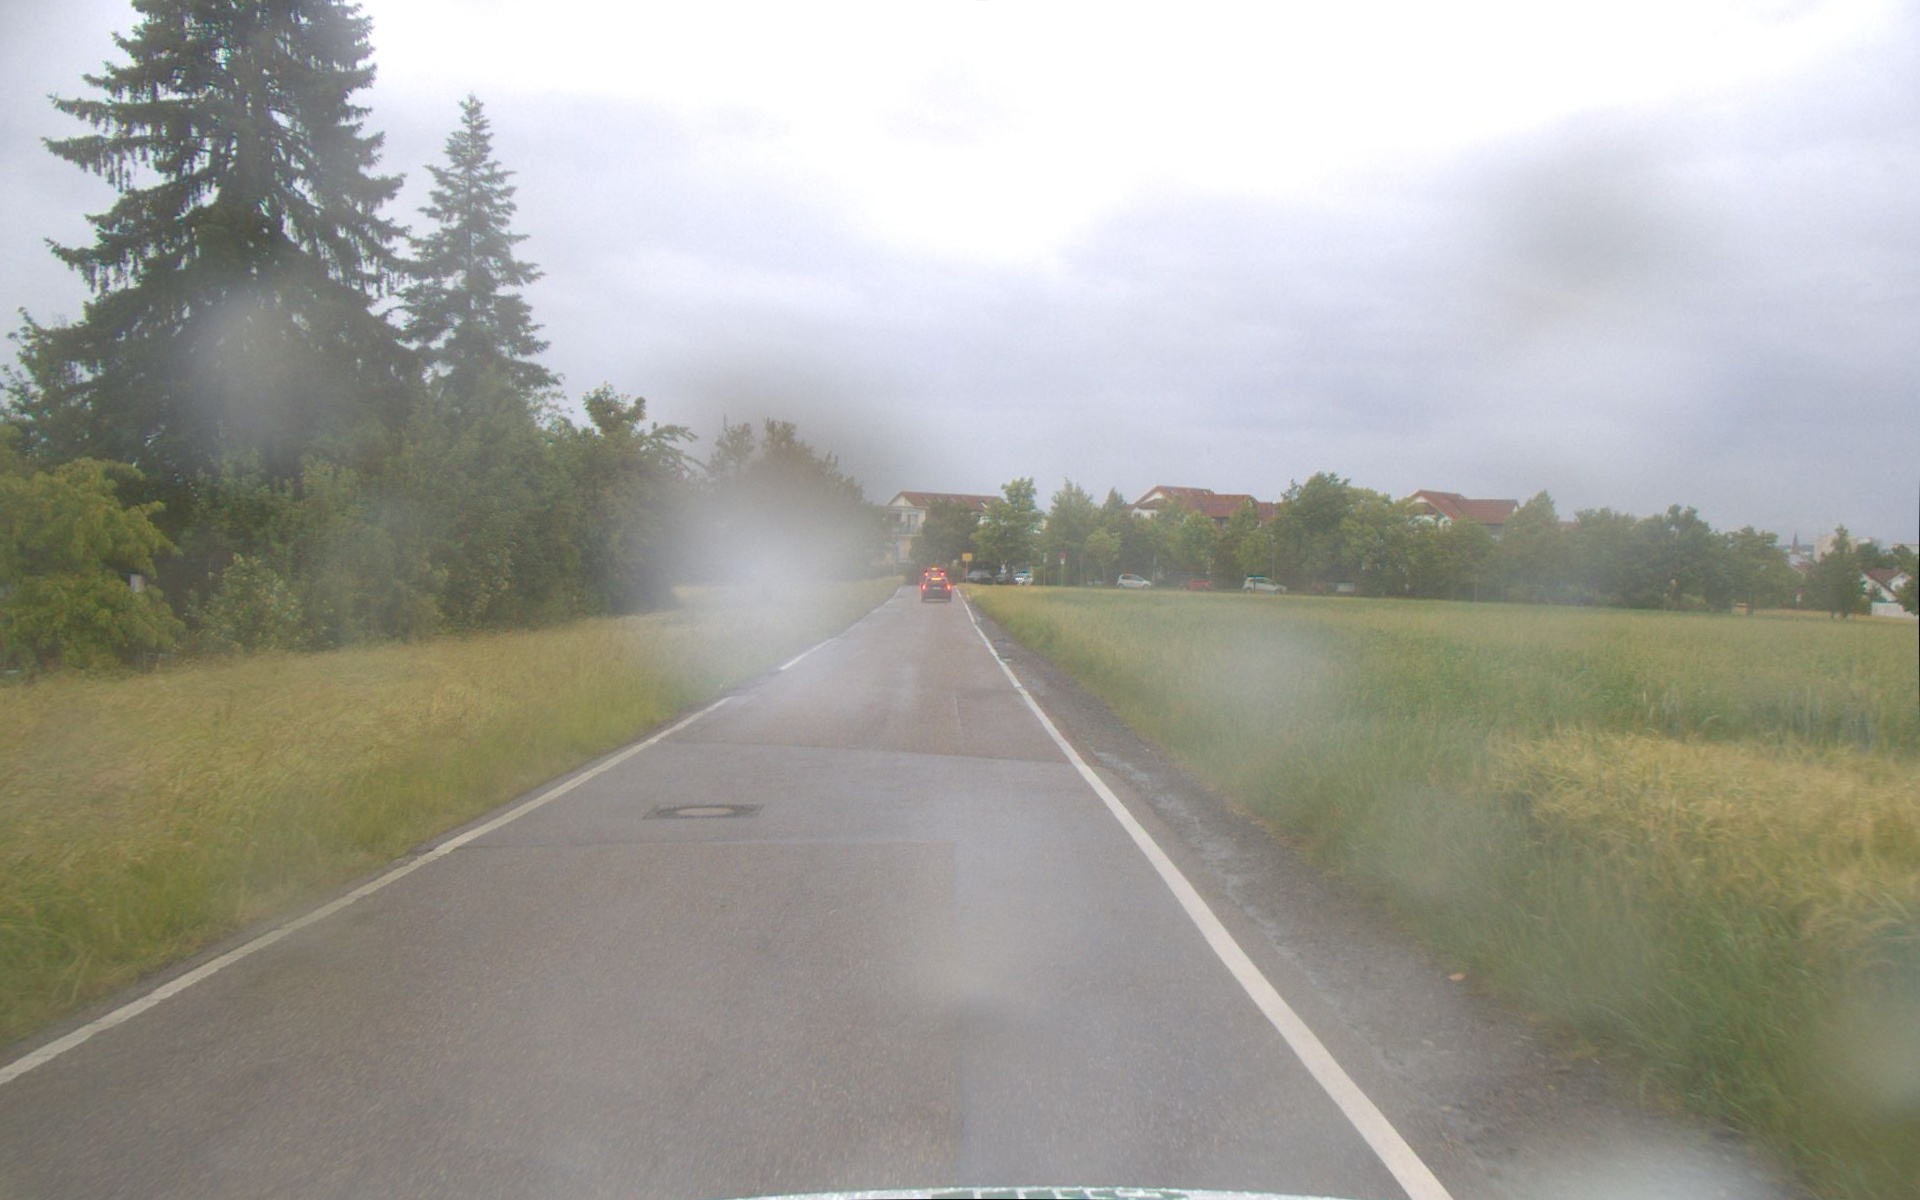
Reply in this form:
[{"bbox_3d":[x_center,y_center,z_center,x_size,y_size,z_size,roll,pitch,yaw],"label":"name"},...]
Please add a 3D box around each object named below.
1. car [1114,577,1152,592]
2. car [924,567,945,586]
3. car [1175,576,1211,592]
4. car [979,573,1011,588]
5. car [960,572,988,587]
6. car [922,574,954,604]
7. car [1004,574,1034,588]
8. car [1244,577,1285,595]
[{"bbox_3d":[16.125,-1.438,153.964,3.317,1.394,1.549,1,-1,12],"label":"car"},{"bbox_3d":[-2.249,-2.082,147.061,1.777,1.622,4.000,1,-1,0],"label":"car"},{"bbox_3d":[21.533,-1.475,152.621,3.124,1.394,1.573,1,-1,12],"label":"car"},{"bbox_3d":[3.989,-2.239,187.500,1.632,1.573,3.986,0,-1,35],"label":"car"},{"bbox_3d":[1.541,-2.259,182.675,1.627,1.573,3.998,1,-1,24],"label":"car"},{"bbox_3d":[-1.248,-0.621,95.652,1.777,1.622,4.000,1,-1,0],"label":"car"},{"bbox_3d":[6.874,-2.178,191.839,1.632,1.573,3.986,0,-1,35],"label":"car"},{"bbox_3d":[27.780,-1.254,151.020,3.630,1.591,1.611,1,-1,12],"label":"car"}]
